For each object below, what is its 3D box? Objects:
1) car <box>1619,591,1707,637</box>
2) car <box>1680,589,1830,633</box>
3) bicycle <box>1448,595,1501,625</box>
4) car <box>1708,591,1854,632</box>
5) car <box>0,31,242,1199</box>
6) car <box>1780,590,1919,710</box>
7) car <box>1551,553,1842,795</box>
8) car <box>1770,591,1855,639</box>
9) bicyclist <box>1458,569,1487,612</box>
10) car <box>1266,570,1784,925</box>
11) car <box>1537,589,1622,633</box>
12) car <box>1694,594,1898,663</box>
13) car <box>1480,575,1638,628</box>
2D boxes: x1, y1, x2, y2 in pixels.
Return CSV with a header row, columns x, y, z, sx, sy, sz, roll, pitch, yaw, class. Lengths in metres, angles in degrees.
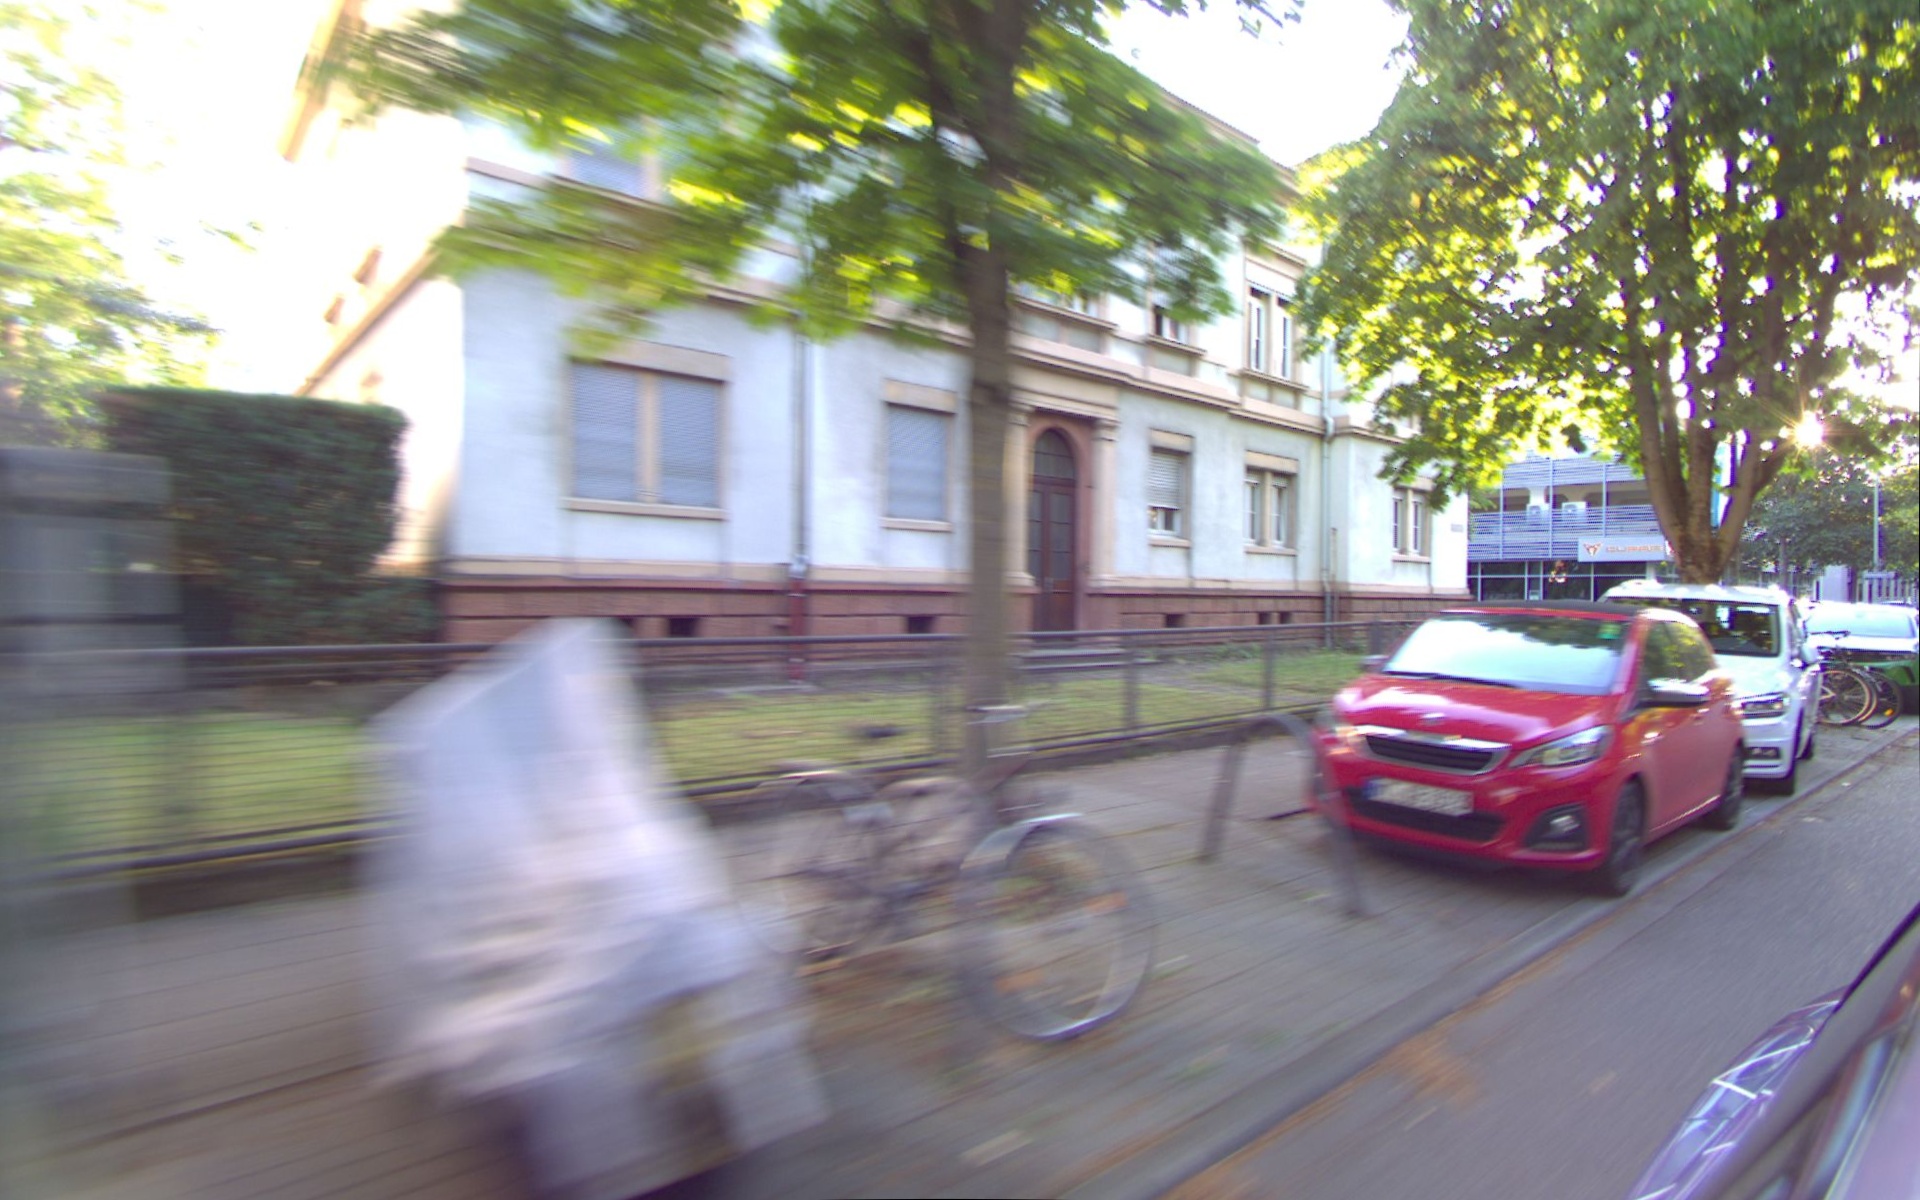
x,y,z,sx,sy,sz,roll,pitch,yaw,class
26.933,0.488,38.737,4.053,1.626,1.716,-1,1,-39,car
32.448,0.429,41.400,1.840,1.664,4.584,1,-1,-41,car
19.622,0.372,38.617,0.528,1.046,1.910,-1,2,-23,bicycle
34.607,0.469,42.756,1.840,1.637,4.584,1,-1,-41,car
-3.386,0.311,0.512,4.745,2.084,1.958,1,2,-41,car
14.275,0.711,15.630,3.891,1.576,1.735,1,2,-40,car
6.914,0.520,9.319,1.664,1.699,4.056,4,2,42,car
30.049,0.503,35.641,3.834,1.592,1.765,1,0,-42,car
19.570,-0.352,38.667,0.499,1.597,0.824,2,-1,-23,bicyclist
3.667,0.658,6.309,3.629,1.518,1.667,1,2,-42,car
25.269,0.429,41.252,3.626,1.611,1.706,-2,1,-37,car
20.316,0.648,24.868,1.781,1.520,4.166,1,0,5,car
18.571,0.010,31.510,1.603,1.565,3.941,0,1,-37,car
